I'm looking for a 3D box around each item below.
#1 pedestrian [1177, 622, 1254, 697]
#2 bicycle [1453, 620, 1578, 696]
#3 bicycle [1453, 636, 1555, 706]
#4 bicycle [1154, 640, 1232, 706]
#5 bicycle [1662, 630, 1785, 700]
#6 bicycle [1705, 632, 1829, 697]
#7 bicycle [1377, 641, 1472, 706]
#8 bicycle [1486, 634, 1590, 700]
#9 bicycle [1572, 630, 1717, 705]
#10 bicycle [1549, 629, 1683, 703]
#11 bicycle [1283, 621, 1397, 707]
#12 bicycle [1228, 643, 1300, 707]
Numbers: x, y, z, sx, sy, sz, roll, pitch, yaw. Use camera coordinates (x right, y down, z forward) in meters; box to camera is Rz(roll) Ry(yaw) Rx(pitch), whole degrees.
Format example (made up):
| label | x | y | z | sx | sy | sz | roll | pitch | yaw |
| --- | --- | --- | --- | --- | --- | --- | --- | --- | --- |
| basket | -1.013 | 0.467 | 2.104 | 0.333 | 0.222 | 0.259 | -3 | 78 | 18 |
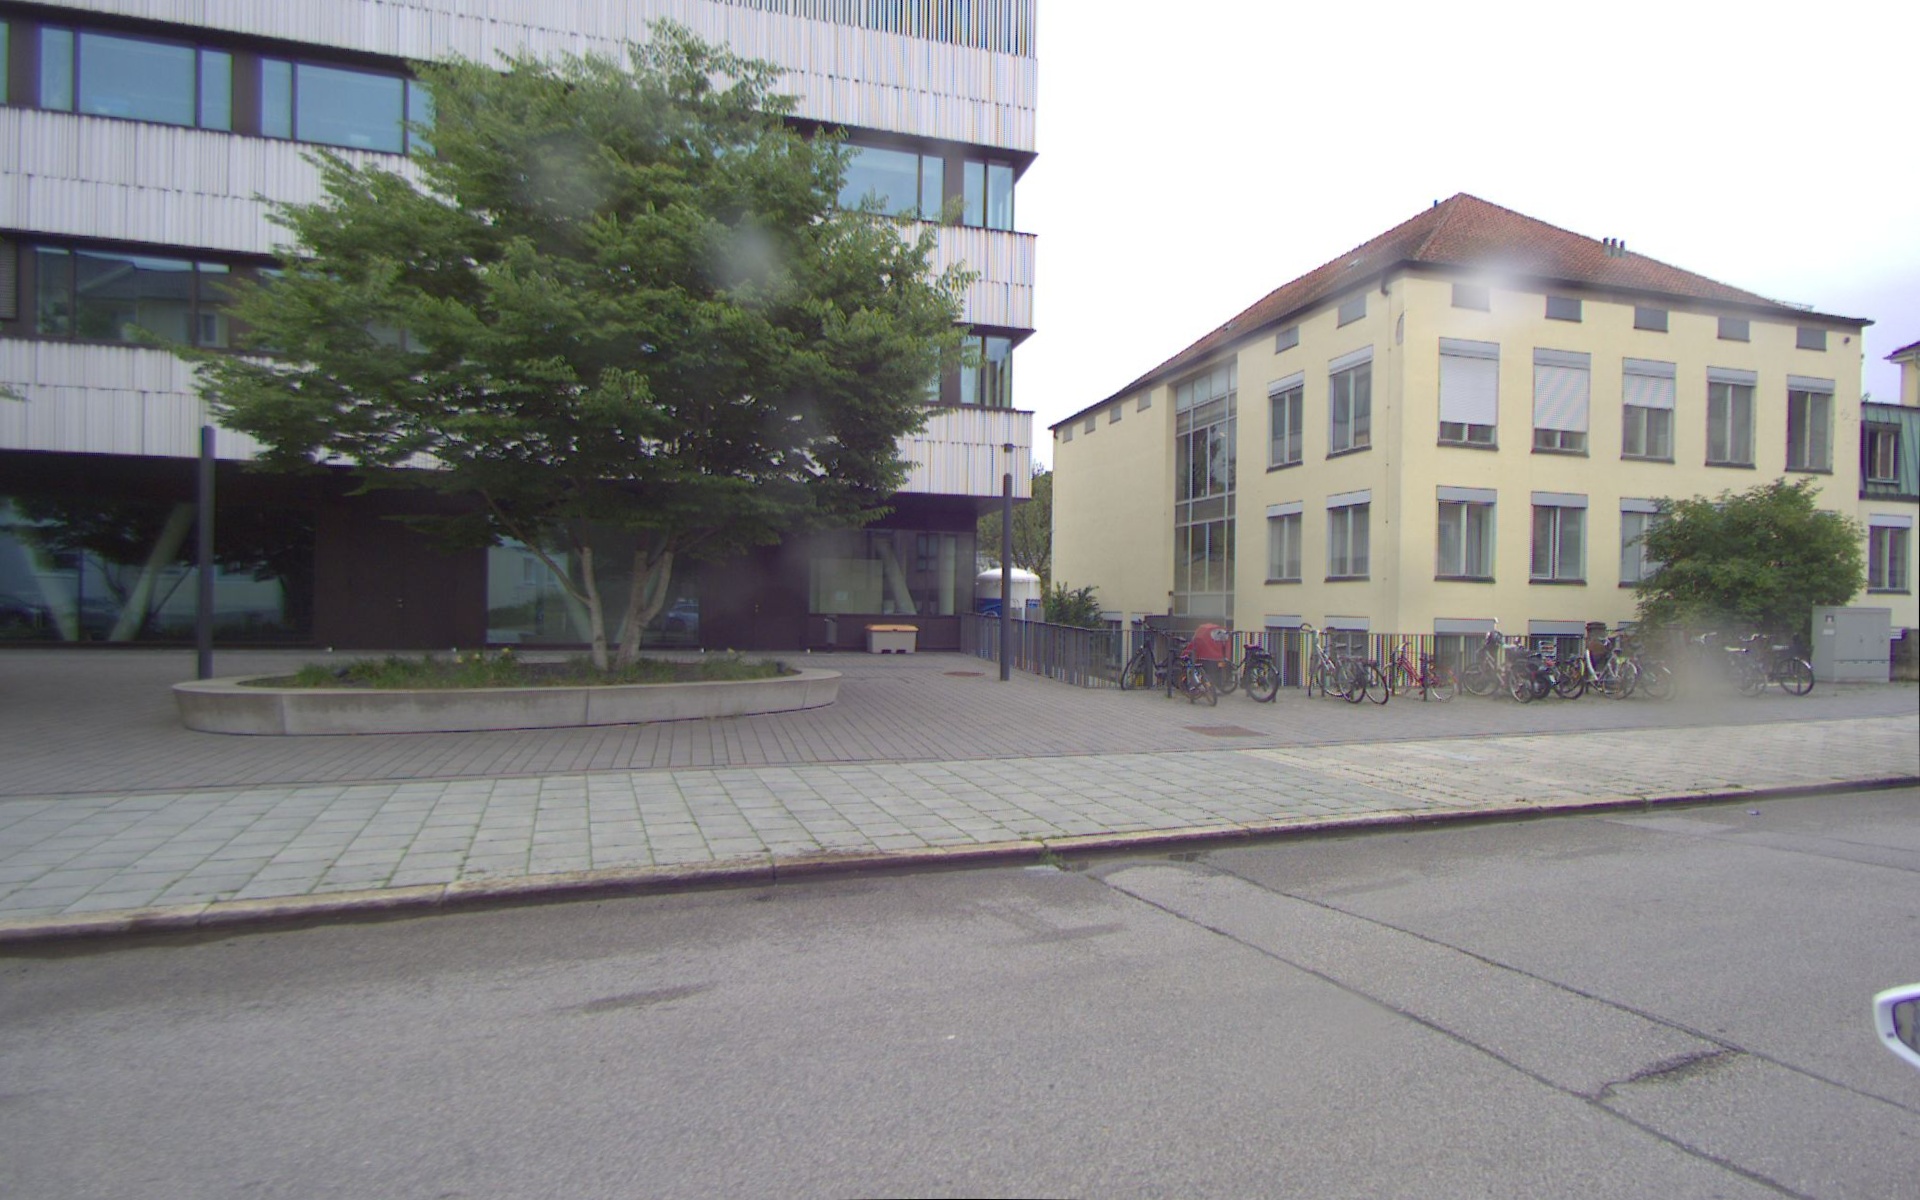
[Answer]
| label | x | y | z | sx | sy | sz | roll | pitch | yaw |
| --- | --- | --- | --- | --- | --- | --- | --- | --- | --- |
| pedestrian | 4.282 | 0.987 | 16.873 | 1.024 | 1.178 | 0.717 | 0 | 2 | -17 |
| bicycle | 9.946 | 0.999 | 18.122 | 0.417 | 1.222 | 2.556 | 0 | 0 | -12 |
| bicycle | 9.389 | 1.199 | 17.414 | 0.498 | 1.047 | 1.792 | 0 | 2 | -12 |
| bicycle | 3.668 | 1.124 | 15.945 | 0.432 | 0.874 | 1.719 | 0 | 2 | -15 |
| bicycle | 14.568 | 1.209 | 19.238 | 0.563 | 1.147 | 1.958 | 0 | 2 | -12 |
| bicycle | 15.892 | 1.244 | 19.848 | 0.666 | 1.107 | 1.906 | 0 | 2 | -12 |
| bicycle | 7.890 | 1.225 | 17.137 | 0.585 | 0.929 | 1.676 | 0 | 2 | -12 |
| bicycle | 10.524 | 1.196 | 18.367 | 0.530 | 1.043 | 1.868 | 0 | 2 | -12 |
| bicycle | 12.661 | 1.207 | 18.698 | 0.625 | 1.156 | 2.489 | 0 | 2 | -12 |
| bicycle | 11.960 | 1.168 | 18.418 | 0.571 | 1.150 | 2.312 | 0 | 2 | -12 |
| bicycle | 6.320 | 1.026 | 16.841 | 0.773 | 1.244 | 2.106 | 0 | 2 | -12 |
| bicycle | 4.826 | 1.177 | 16.006 | 0.432 | 0.874 | 1.372 | 0 | 2 | -15 |
